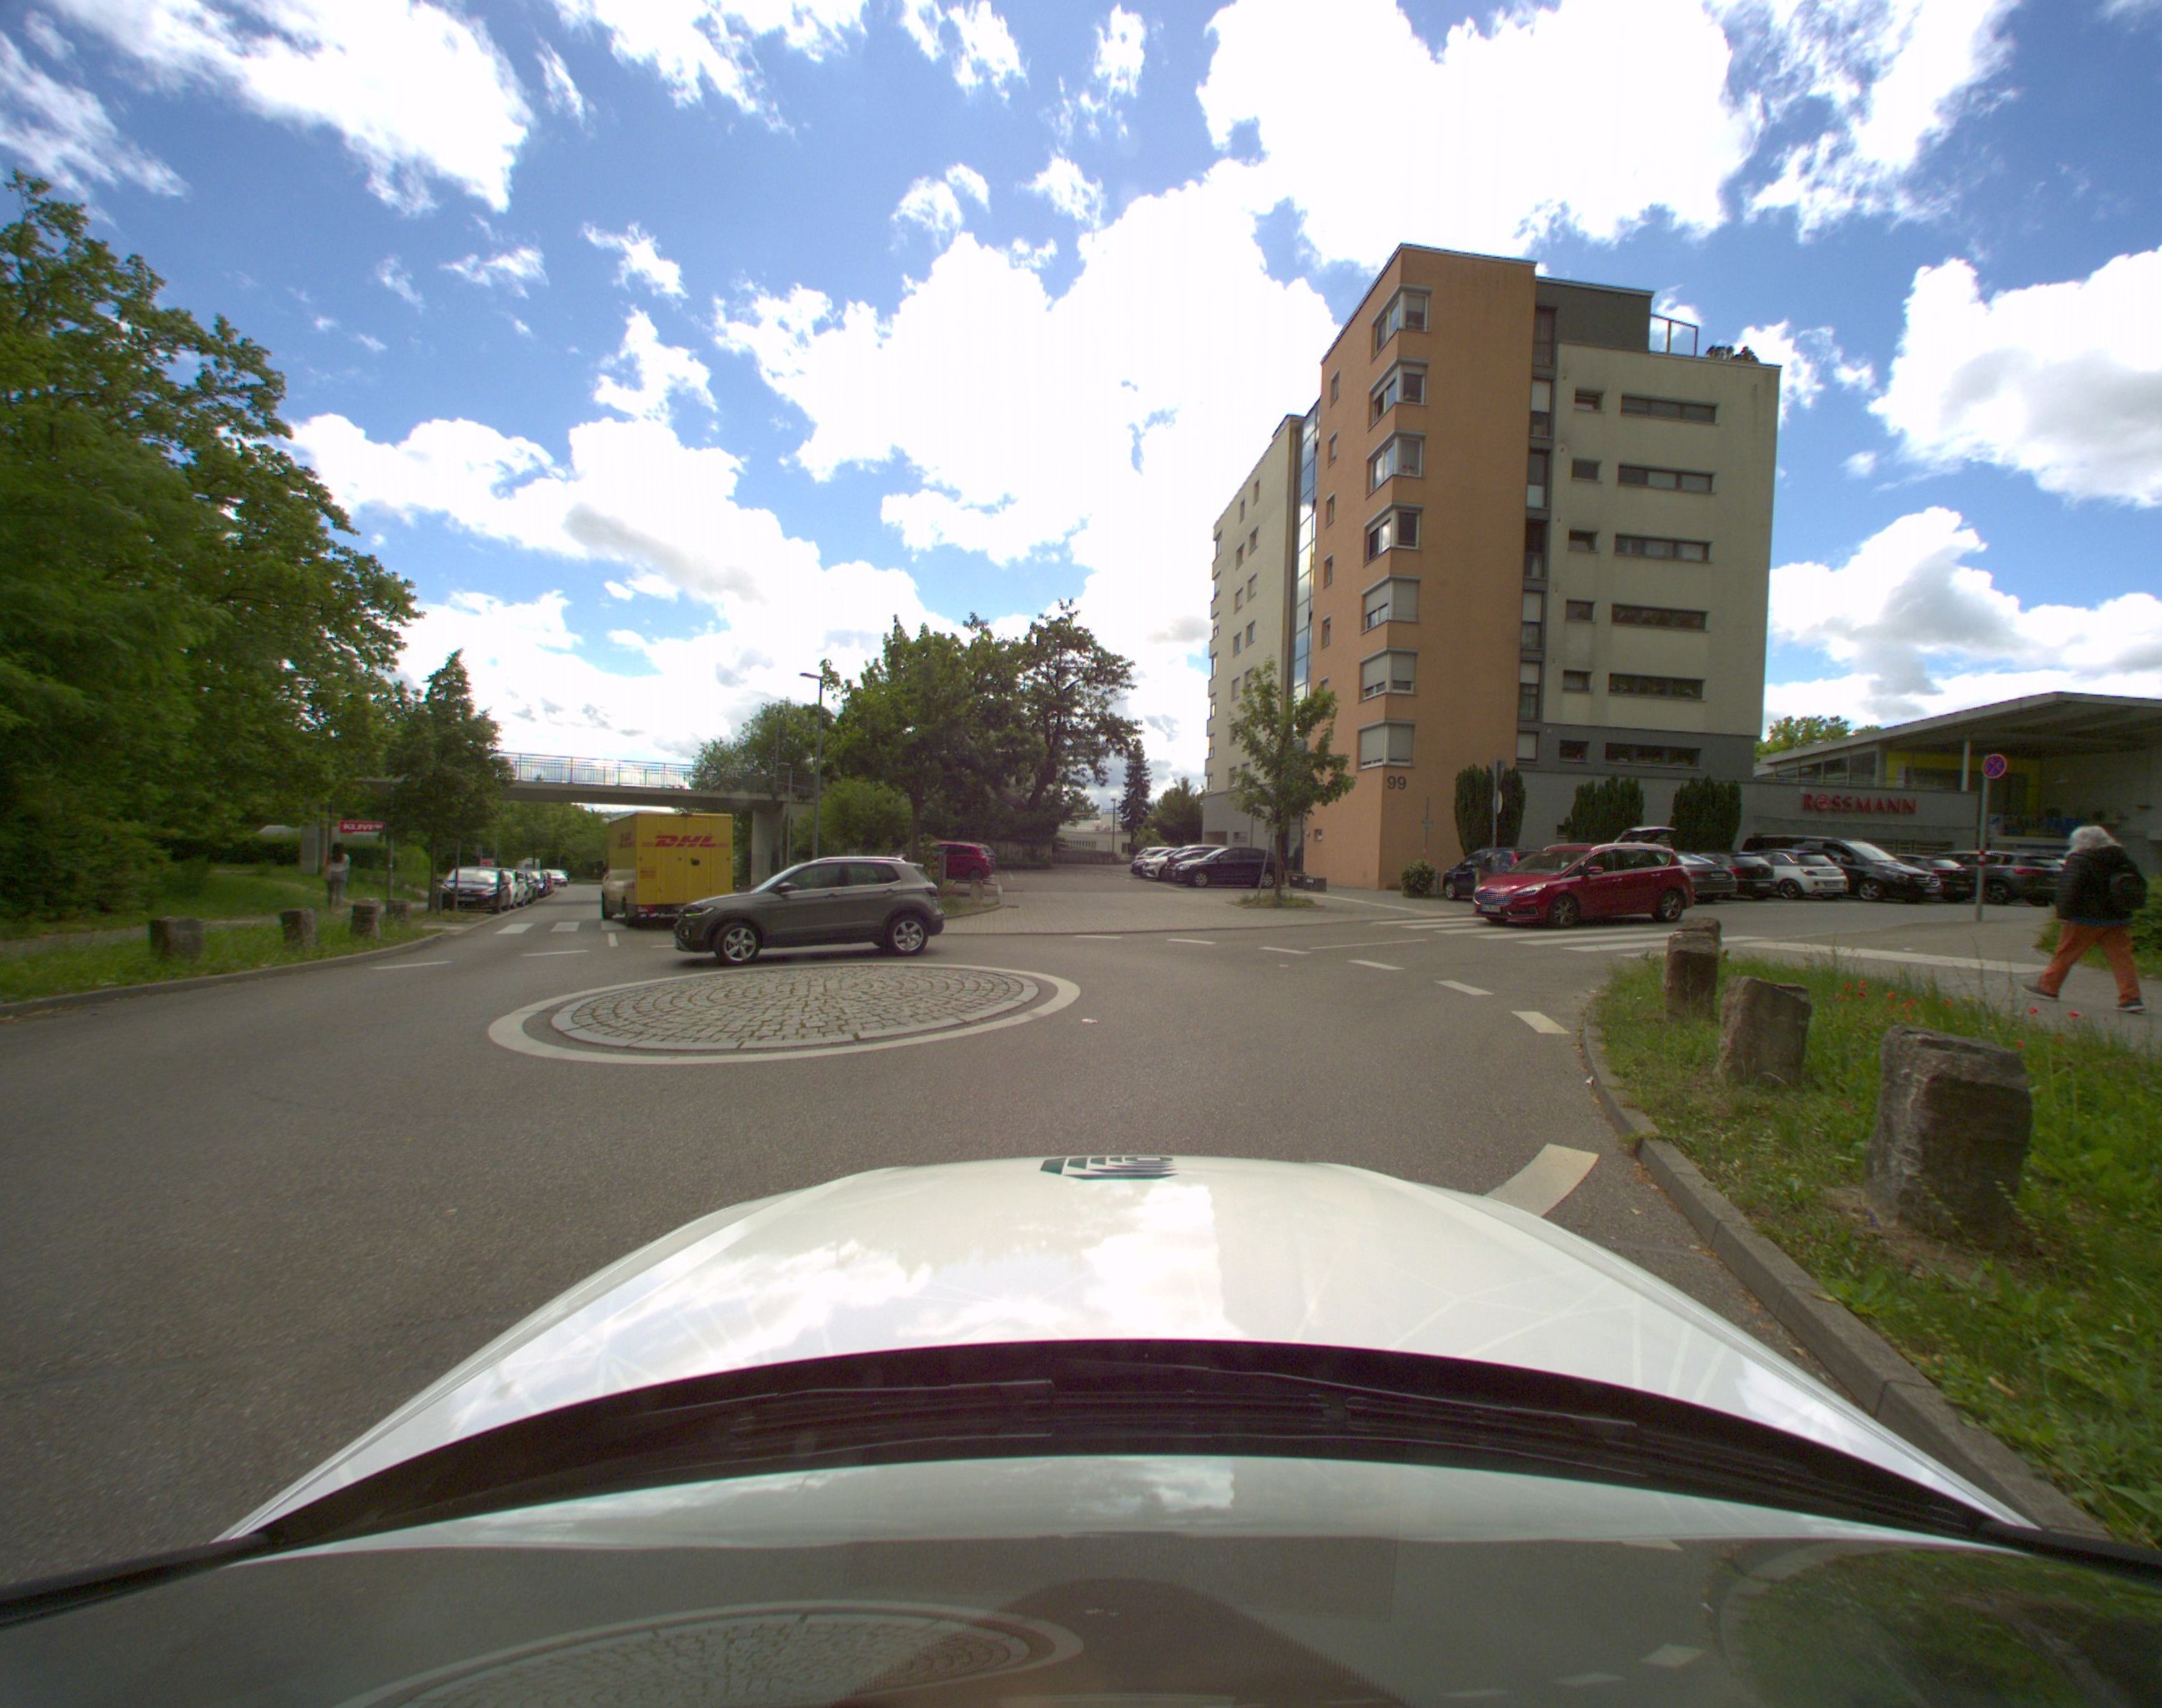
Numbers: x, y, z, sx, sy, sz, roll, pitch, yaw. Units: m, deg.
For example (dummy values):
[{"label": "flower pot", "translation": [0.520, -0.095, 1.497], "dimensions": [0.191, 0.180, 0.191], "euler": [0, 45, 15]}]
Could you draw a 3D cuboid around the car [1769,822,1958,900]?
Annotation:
[{"label": "car", "translation": [23.919, 0.216, 25.106], "dimensions": [1.822, 2.161, 3.968], "euler": [1, -1, -7]}]

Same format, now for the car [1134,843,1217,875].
[{"label": "car", "translation": [4.774, 0.279, 41.459], "dimensions": [3.972, 1.517, 1.755], "euler": [1, -1, -3]}]

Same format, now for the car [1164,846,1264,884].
[{"label": "car", "translation": [5.488, 0.461, 33.928], "dimensions": [3.819, 1.459, 1.690], "euler": [1, -1, -4]}]

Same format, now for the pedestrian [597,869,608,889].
[{"label": "pedestrian", "translation": [-37.059, 1.935, 63.093], "dimensions": [0.722, 1.541, 0.549], "euler": [2, -1, -32]}]

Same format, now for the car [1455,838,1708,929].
[{"label": "car", "translation": [10.422, 0.554, 17.054], "dimensions": [4.530, 1.644, 1.970], "euler": [-1, 0, -16]}]

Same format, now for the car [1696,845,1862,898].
[{"label": "car", "translation": [21.357, 0.520, 25.138], "dimensions": [1.635, 1.482, 3.768], "euler": [-1, 0, -7]}]

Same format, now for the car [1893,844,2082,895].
[{"label": "car", "translation": [28.697, 0.479, 25.962], "dimensions": [1.635, 1.482, 3.768], "euler": [-1, 0, -7]}]

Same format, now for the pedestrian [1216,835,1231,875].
[{"label": "pedestrian", "translation": [6.688, 0.065, 38.215], "dimensions": [0.479, 1.853, 0.504], "euler": [2, -1, -16]}]

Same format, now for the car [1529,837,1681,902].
[{"label": "car", "translation": [14.580, 0.410, 22.918], "dimensions": [1.566, 1.659, 3.768], "euler": [-1, 0, -7]}]

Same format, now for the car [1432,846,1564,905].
[{"label": "car", "translation": [11.577, 0.564, 22.852], "dimensions": [1.499, 1.476, 3.515], "euler": [-2, 0, -9]}]

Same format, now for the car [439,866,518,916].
[{"label": "car", "translation": [-19.834, 1.159, 26.935], "dimensions": [1.798, 1.468, 3.959], "euler": [2, -1, -33]}]

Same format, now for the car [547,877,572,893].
[{"label": "car", "translation": [-49.646, 2.916, 77.524], "dimensions": [1.898, 1.509, 4.405], "euler": [2, -2, -34]}]

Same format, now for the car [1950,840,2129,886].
[{"label": "car", "translation": [33.297, 0.314, 28.463], "dimensions": [1.635, 1.482, 3.768], "euler": [-1, 0, -7]}]

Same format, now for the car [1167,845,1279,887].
[{"label": "car", "translation": [5.509, 0.460, 31.876], "dimensions": [4.032, 1.517, 1.753], "euler": [1, -1, -4]}]

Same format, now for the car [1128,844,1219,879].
[{"label": "car", "translation": [4.327, 0.349, 38.509], "dimensions": [4.032, 1.517, 1.753], "euler": [1, -1, -4]}]

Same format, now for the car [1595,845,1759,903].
[{"label": "car", "translation": [16.837, 0.542, 23.245], "dimensions": [1.635, 1.482, 3.768], "euler": [-1, 0, -7]}]

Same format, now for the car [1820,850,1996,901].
[{"label": "car", "translation": [26.483, 0.659, 26.261], "dimensions": [1.635, 1.482, 3.768], "euler": [-1, 0, -7]}]

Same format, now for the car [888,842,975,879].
[{"label": "car", "translation": [-6.469, 0.287, 35.560], "dimensions": [3.648, 1.498, 1.679], "euler": [1, -1, -9]}]

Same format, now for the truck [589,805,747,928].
[{"label": "truck", "translation": [-11.037, 0.358, 21.391], "dimensions": [2.485, 2.702, 6.747], "euler": [2, -2, -37]}]

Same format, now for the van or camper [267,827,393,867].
[{"label": "van or camper", "translation": [-41.889, -0.359, 45.620], "dimensions": [4.890, 2.086, 1.978], "euler": [2, -1, -36]}]

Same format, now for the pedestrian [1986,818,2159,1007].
[{"label": "pedestrian", "translation": [9.281, 0.524, 7.658], "dimensions": [0.611, 1.665, 0.839], "euler": [1, -1, -3]}]

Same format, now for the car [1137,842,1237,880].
[{"label": "car", "translation": [4.719, 0.333, 36.541], "dimensions": [4.120, 1.594, 1.686], "euler": [1, -1, -11]}]

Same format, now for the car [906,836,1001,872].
[{"label": "car", "translation": [-6.376, 0.015, 40.700], "dimensions": [4.545, 1.668, 1.937], "euler": [1, -1, -11]}]

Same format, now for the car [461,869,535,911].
[{"label": "car", "translation": [-22.202, 1.342, 31.127], "dimensions": [1.896, 1.460, 3.513], "euler": [2, -1, -30]}]

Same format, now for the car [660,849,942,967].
[{"label": "car", "translation": [-4.414, 0.757, 12.970], "dimensions": [4.017, 1.618, 1.707], "euler": [0, -1, -27]}]

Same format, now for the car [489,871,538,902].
[{"label": "car", "translation": [-28.642, 1.615, 41.168], "dimensions": [1.898, 1.509, 4.405], "euler": [2, -2, -34]}]

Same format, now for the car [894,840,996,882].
[{"label": "car", "translation": [-5.095, 0.270, 30.724], "dimensions": [3.648, 1.439, 1.679], "euler": [1, -1, -9]}]

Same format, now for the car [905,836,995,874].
[{"label": "car", "translation": [-6.091, 0.056, 37.973], "dimensions": [3.988, 1.614, 1.937], "euler": [1, -1, -11]}]

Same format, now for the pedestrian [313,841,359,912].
[{"label": "pedestrian", "translation": [-18.620, 0.560, 20.362], "dimensions": [0.743, 1.722, 0.652], "euler": [2, -1, -37]}]

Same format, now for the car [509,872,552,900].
[{"label": "car", "translation": [-31.307, 1.776, 46.343], "dimensions": [1.898, 1.509, 4.405], "euler": [2, -2, -34]}]

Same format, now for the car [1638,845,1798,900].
[{"label": "car", "translation": [19.092, 0.529, 24.626], "dimensions": [1.635, 1.482, 3.768], "euler": [-1, 0, -7]}]
